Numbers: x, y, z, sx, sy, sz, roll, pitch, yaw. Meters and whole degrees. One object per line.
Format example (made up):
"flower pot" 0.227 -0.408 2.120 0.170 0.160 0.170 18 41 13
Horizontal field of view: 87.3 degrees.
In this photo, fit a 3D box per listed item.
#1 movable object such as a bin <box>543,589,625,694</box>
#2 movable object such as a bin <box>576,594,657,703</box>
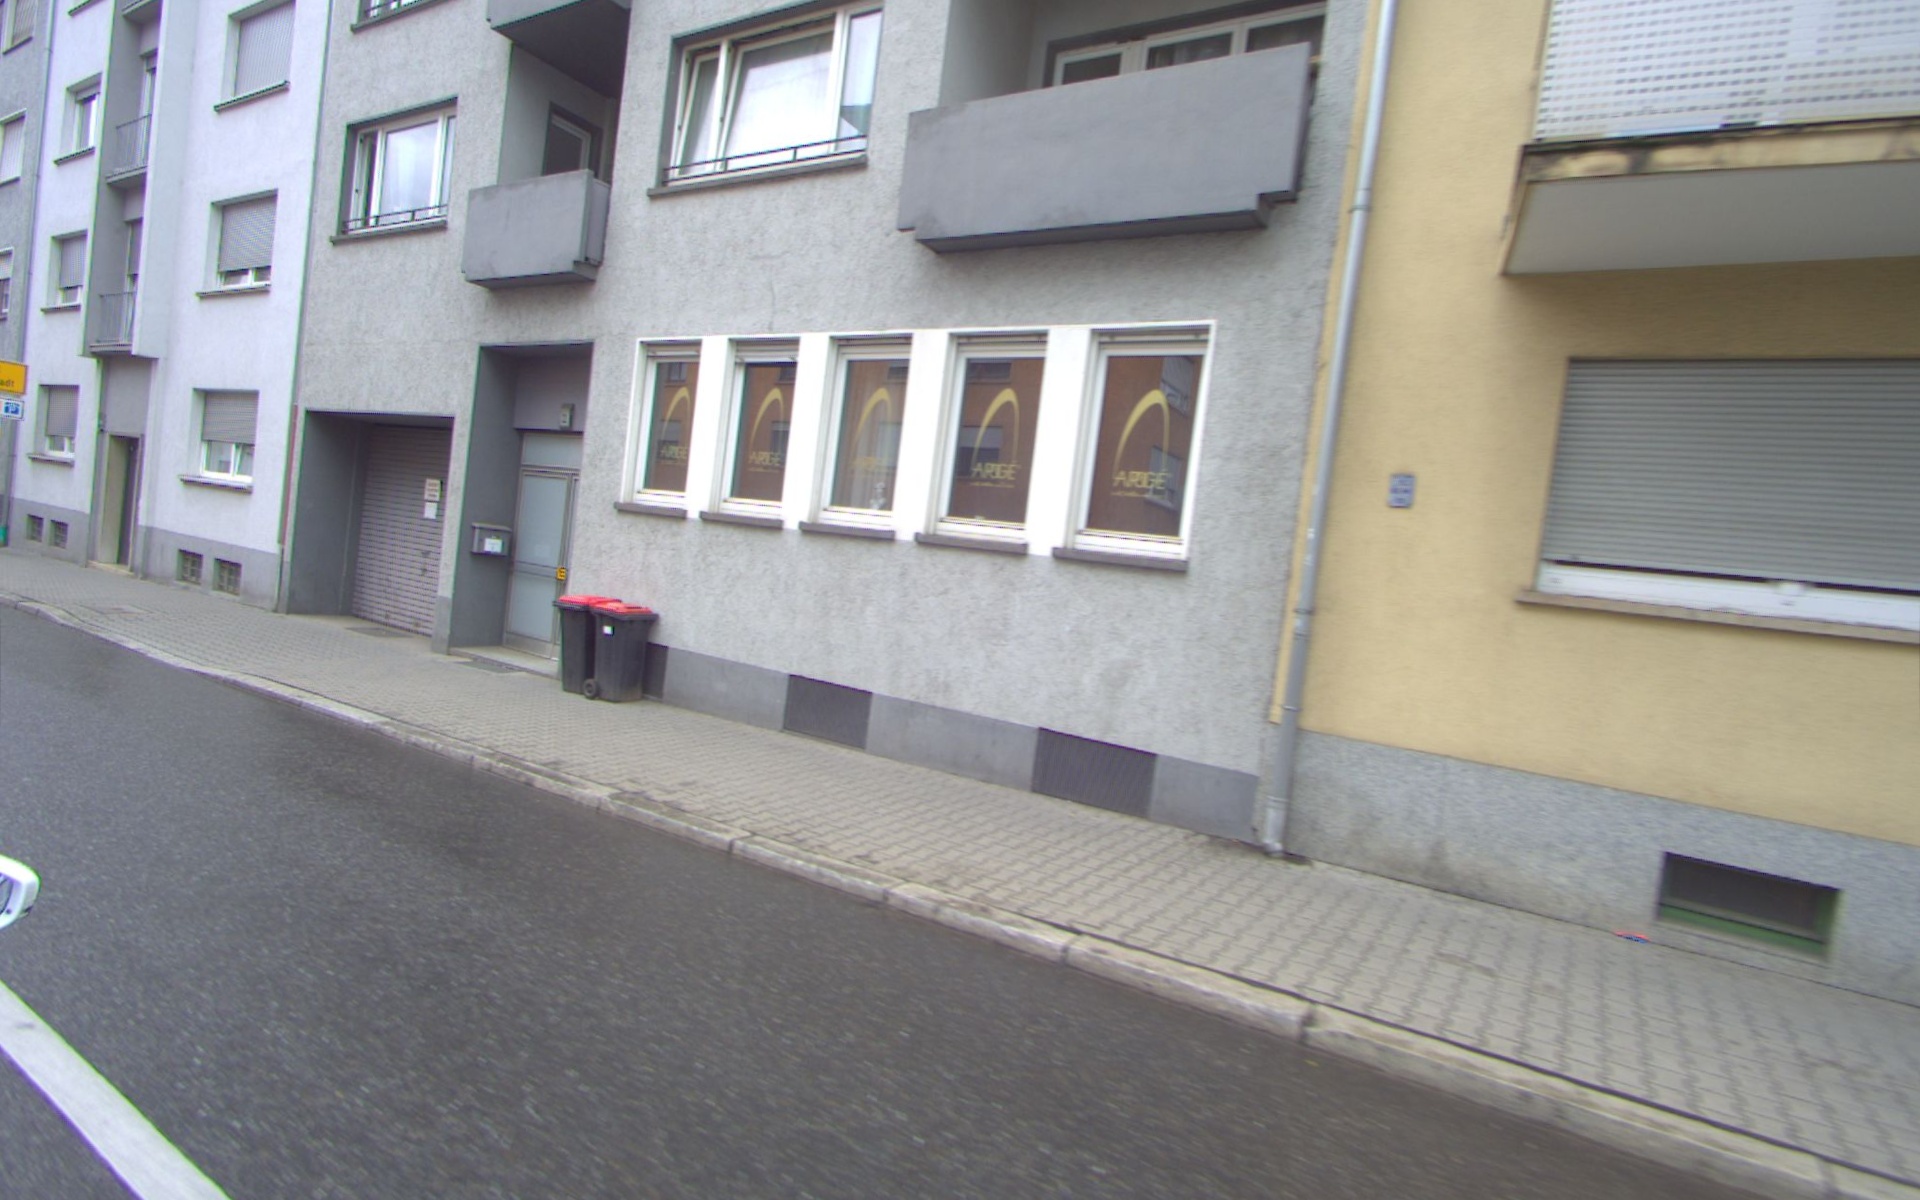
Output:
"movable object such as a bin" -3.782 0.404 10.130 0.467 0.976 0.561 8 5 35
"movable object such as a bin" -3.356 0.460 9.828 0.555 0.976 0.472 8 5 34
